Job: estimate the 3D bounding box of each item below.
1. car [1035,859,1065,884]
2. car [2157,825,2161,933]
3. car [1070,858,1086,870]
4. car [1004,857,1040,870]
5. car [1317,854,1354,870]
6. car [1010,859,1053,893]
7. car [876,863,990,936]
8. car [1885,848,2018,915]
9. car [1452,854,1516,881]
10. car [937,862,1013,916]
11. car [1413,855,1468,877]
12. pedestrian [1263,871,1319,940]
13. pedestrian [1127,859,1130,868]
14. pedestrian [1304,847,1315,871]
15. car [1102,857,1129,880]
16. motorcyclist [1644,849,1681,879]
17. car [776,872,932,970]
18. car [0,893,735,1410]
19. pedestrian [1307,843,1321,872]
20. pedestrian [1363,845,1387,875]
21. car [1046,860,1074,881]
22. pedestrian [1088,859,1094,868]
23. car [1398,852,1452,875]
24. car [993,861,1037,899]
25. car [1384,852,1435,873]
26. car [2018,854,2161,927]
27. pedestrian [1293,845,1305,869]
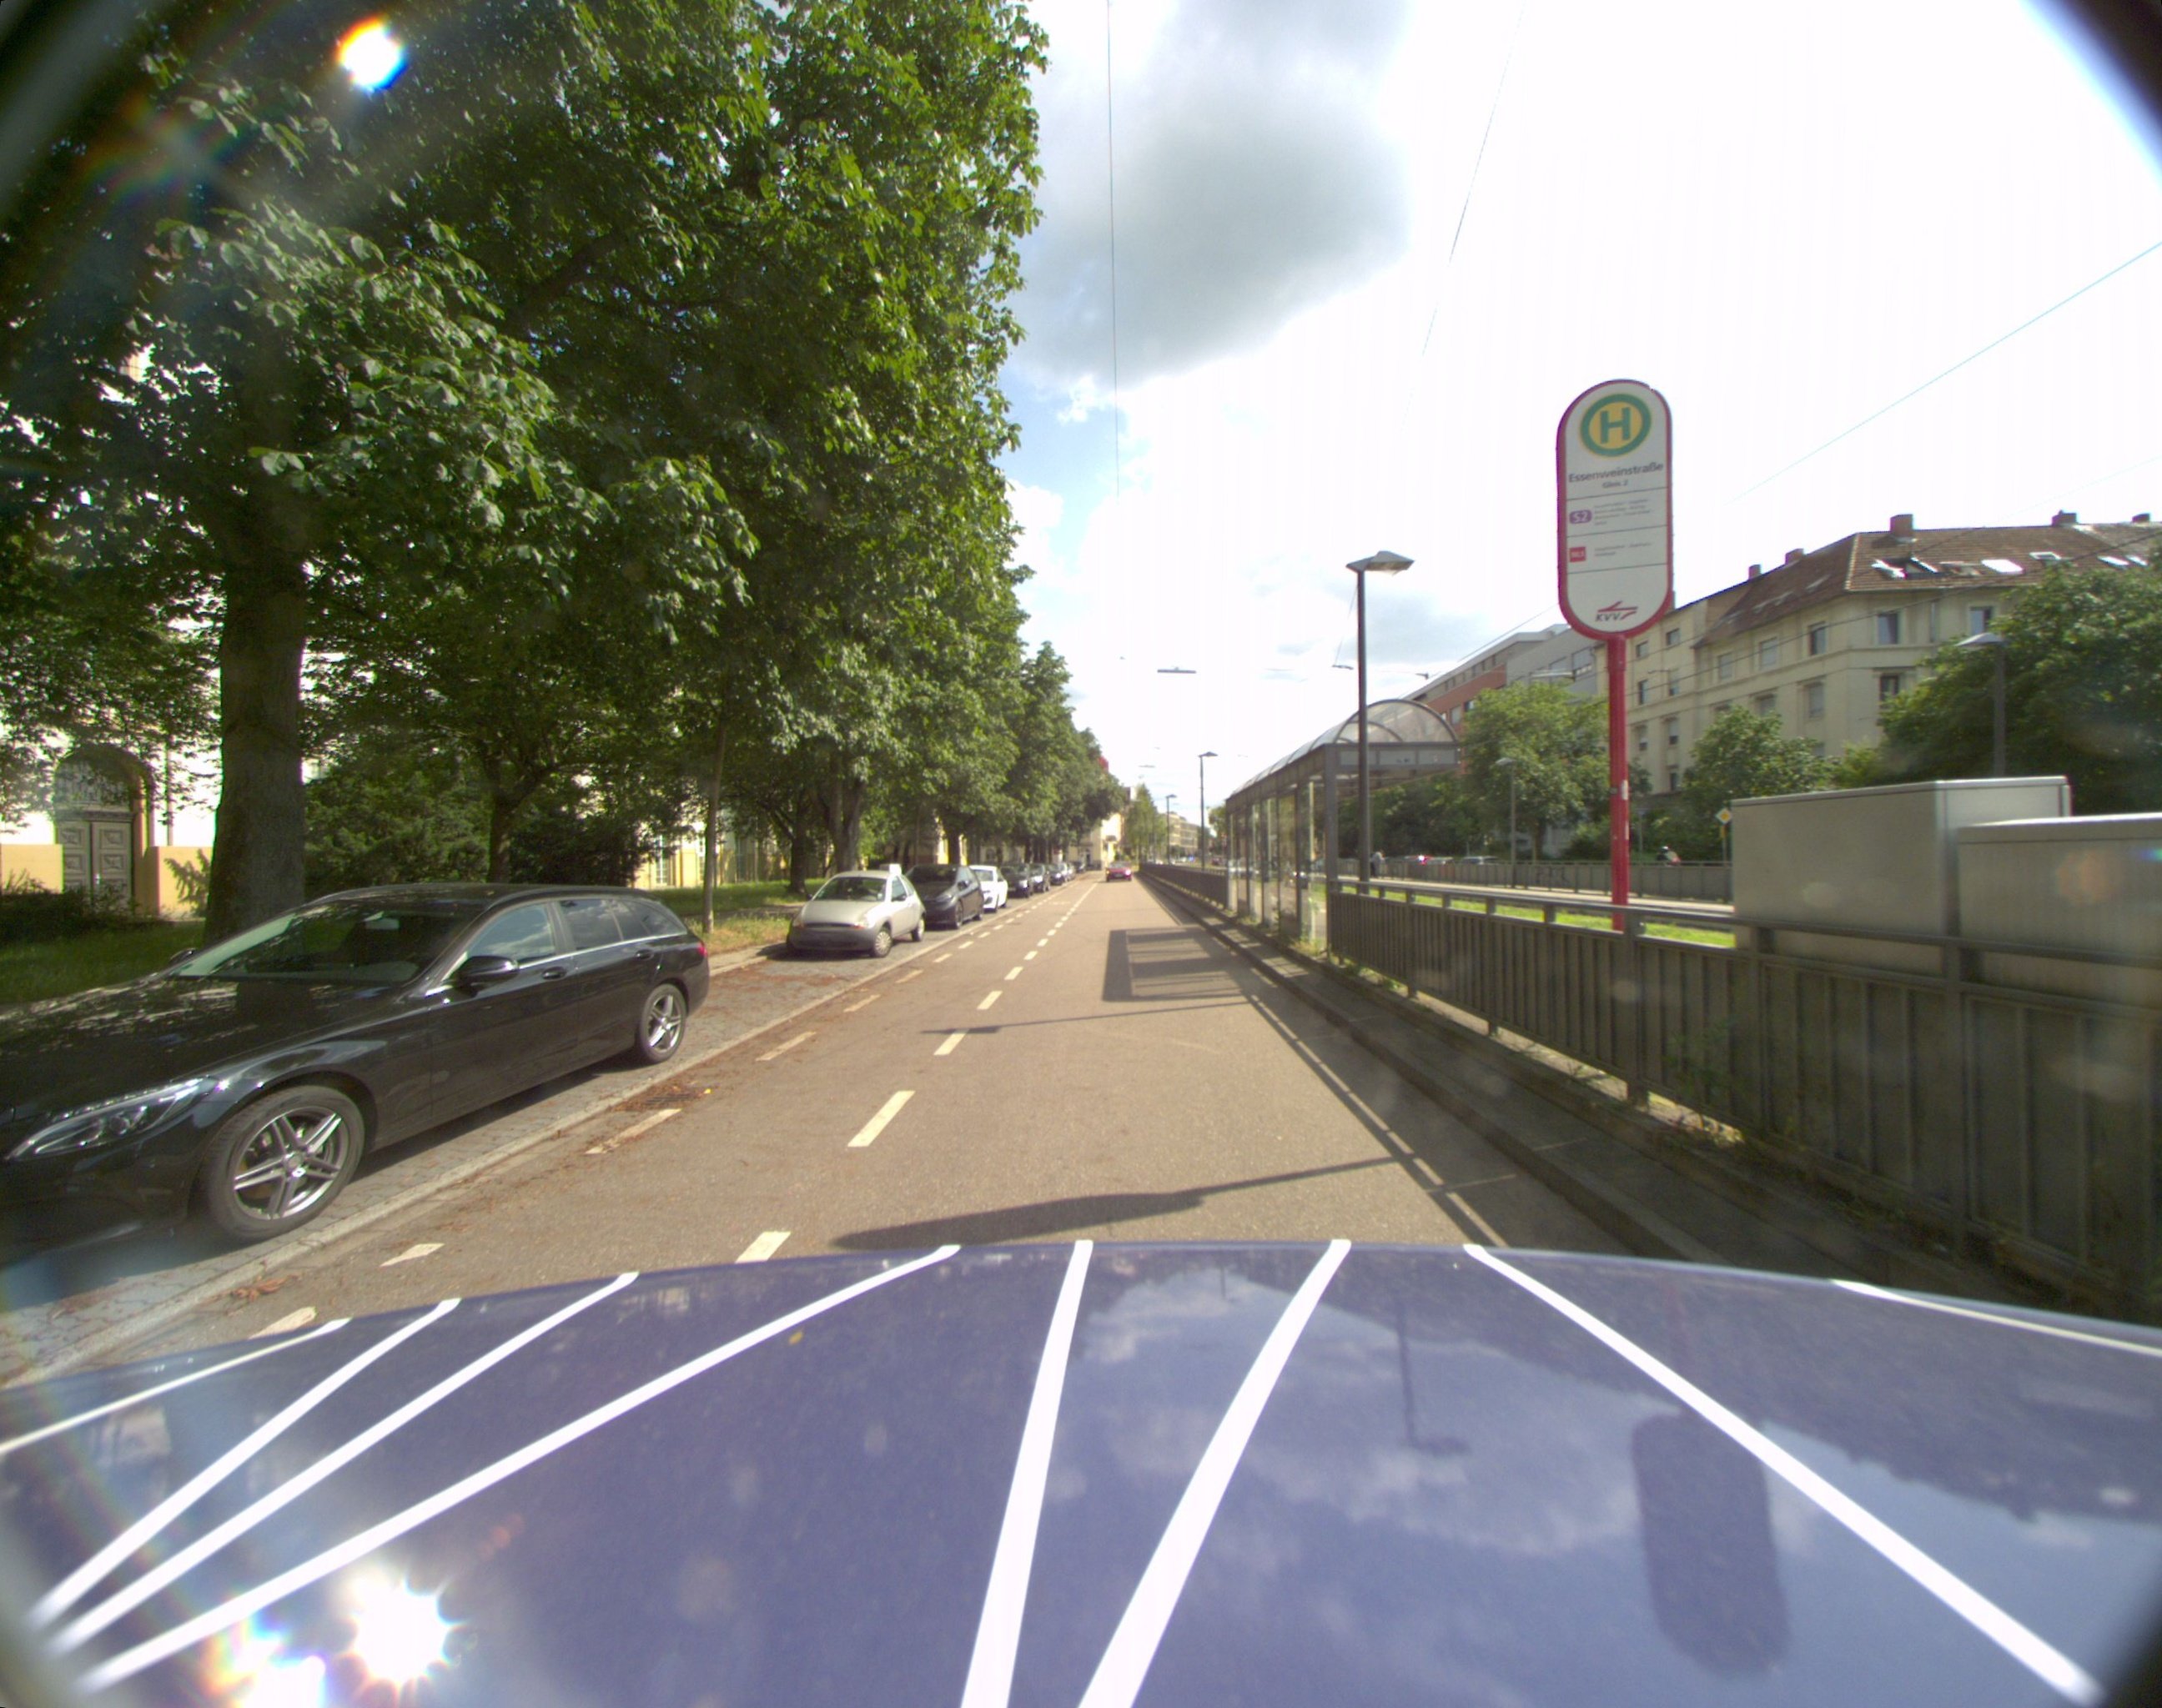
[{"bbox_3d":[-1.984,1.139,50.403,1.836,1.458,4.830,1,1,-1],"label":"car"},{"bbox_3d":[22.913,0.445,14.649,3.957,2.058,2.045,-1,0,-28],"label":"car"},{"bbox_3d":[-0.334,1.136,88.775,1.689,1.379,3.924,0,1,3],"label":"car"},{"bbox_3d":[-8.660,1.410,110.904,4.827,1.646,1.858,-1,2,13],"label":"car"},{"bbox_3d":[25.732,0.850,76.777,3.316,1.412,1.582,-3,1,-27],"label":"car"},{"bbox_3d":[-2.459,1.084,38.811,1.694,1.552,4.308,2,0,3],"label":"car"},{"bbox_3d":[-3.590,1.046,19.304,1.729,1.574,4.678,0,0,3],"label":"car"},{"bbox_3d":[23.351,0.690,20.349,4.007,1.630,1.823,-1,-1,-34],"label":"car"},{"bbox_3d":[24.761,0.800,46.588,4.161,1.556,1.921,-1,1,-38],"label":"car"},{"bbox_3d":[-3.373,1.070,24.901,1.840,1.514,4.253,1,0,0],"label":"car"},{"bbox_3d":[25.133,0.821,53.026,4.031,1.383,1.812,-1,-1,-38],"label":"car"},{"bbox_3d":[3.446,0.824,12.460,0.662,1.066,0.725,-1,-1,37],"label":"pedestrian"},{"bbox_3d":[8.576,1.671,136.801,0.593,1.622,0.538,2,0,5],"label":"pedestrian"},{"bbox_3d":[16.359,0.355,54.312,0.608,1.664,0.625,-1,1,3],"label":"pedestrian"},{"bbox_3d":[2.429,1.010,53.620,1.790,1.499,4.001,-2,0,3],"label":"car"},{"bbox_3d":[26.138,0.461,34.176,0.940,1.331,0.987,0,0,4],"label":"motorcyclist"},{"bbox_3d":[-3.981,1.109,13.904,1.594,1.436,3.598,1,0,3],"label":"car"},{"bbox_3d":[-4.358,1.099,4.908,1.922,1.433,4.797,1,0,2],"label":"car"},{"bbox_3d":[15.241,0.217,49.660,0.752,1.881,0.639,-1,3,5],"label":"pedestrian"},{"bbox_3d":[15.783,0.322,40.788,0.991,1.569,0.799,-1,1,0],"label":"pedestrian"},{"bbox_3d":[-1.522,1.198,56.333,1.639,1.423,4.017,2,0,5],"label":"car"},{"bbox_3d":[1.450,1.382,112.407,0.804,1.238,0.892,-1,2,5],"label":"pedestrian"},{"bbox_3d":[25.480,0.652,56.239,4.144,1.630,1.829,-1,1,-37],"label":"car"},{"bbox_3d":[-2.861,1.086,33.627,1.559,1.452,3.558,3,1,0],"label":"car"},{"bbox_3d":[25.579,0.647,59.133,4.006,1.559,1.606,-1,0,-31],"label":"car"},{"bbox_3d":[23.502,0.774,17.644,4.006,1.477,1.606,-1,0,-30],"label":"car"},{"bbox_3d":[15.617,0.204,54.362,0.607,1.744,0.626,0,2,43],"label":"pedestrian"}]
